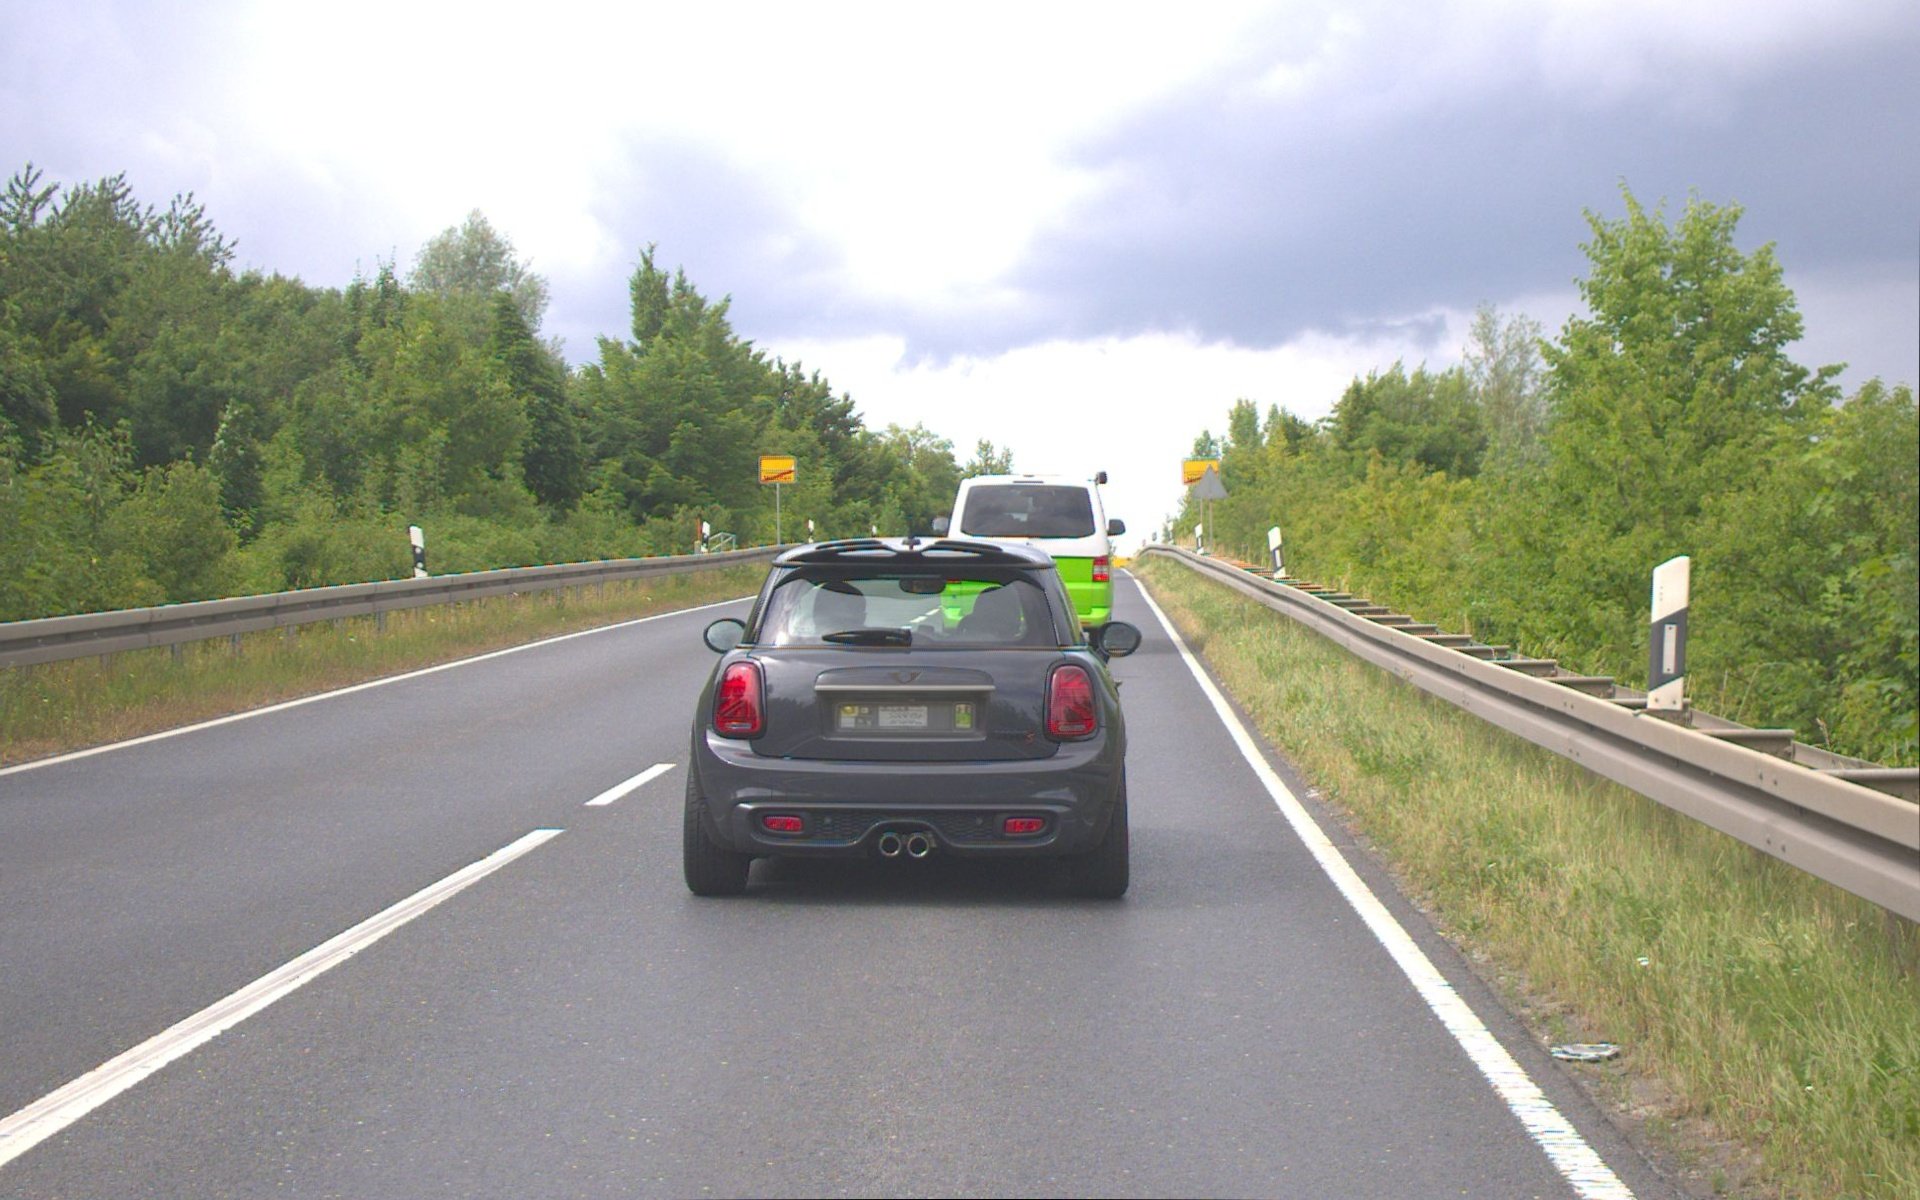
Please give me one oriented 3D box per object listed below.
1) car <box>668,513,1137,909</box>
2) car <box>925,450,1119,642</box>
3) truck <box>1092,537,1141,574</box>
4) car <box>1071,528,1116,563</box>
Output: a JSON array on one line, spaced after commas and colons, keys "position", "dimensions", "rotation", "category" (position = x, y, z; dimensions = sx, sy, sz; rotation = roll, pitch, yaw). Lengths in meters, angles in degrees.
[{"position": [-0.276, 0.367, 14.859], "dimensions": [1.732, 1.451, 4.001], "rotation": [1, 1, -2], "category": "car"}, {"position": [0.756, -0.643, 38.777], "dimensions": [2.022, 2.006, 4.000], "rotation": [2, 2, 3], "category": "car"}, {"position": [10.937, -3.145, 240.110], "dimensions": [2.910, 2.364, 10.450], "rotation": [-2, 1, 5], "category": "truck"}, {"position": [5.547, -2.269, 142.452], "dimensions": [1.694, 1.315, 4.000], "rotation": [-1, 2, 4], "category": "car"}]
